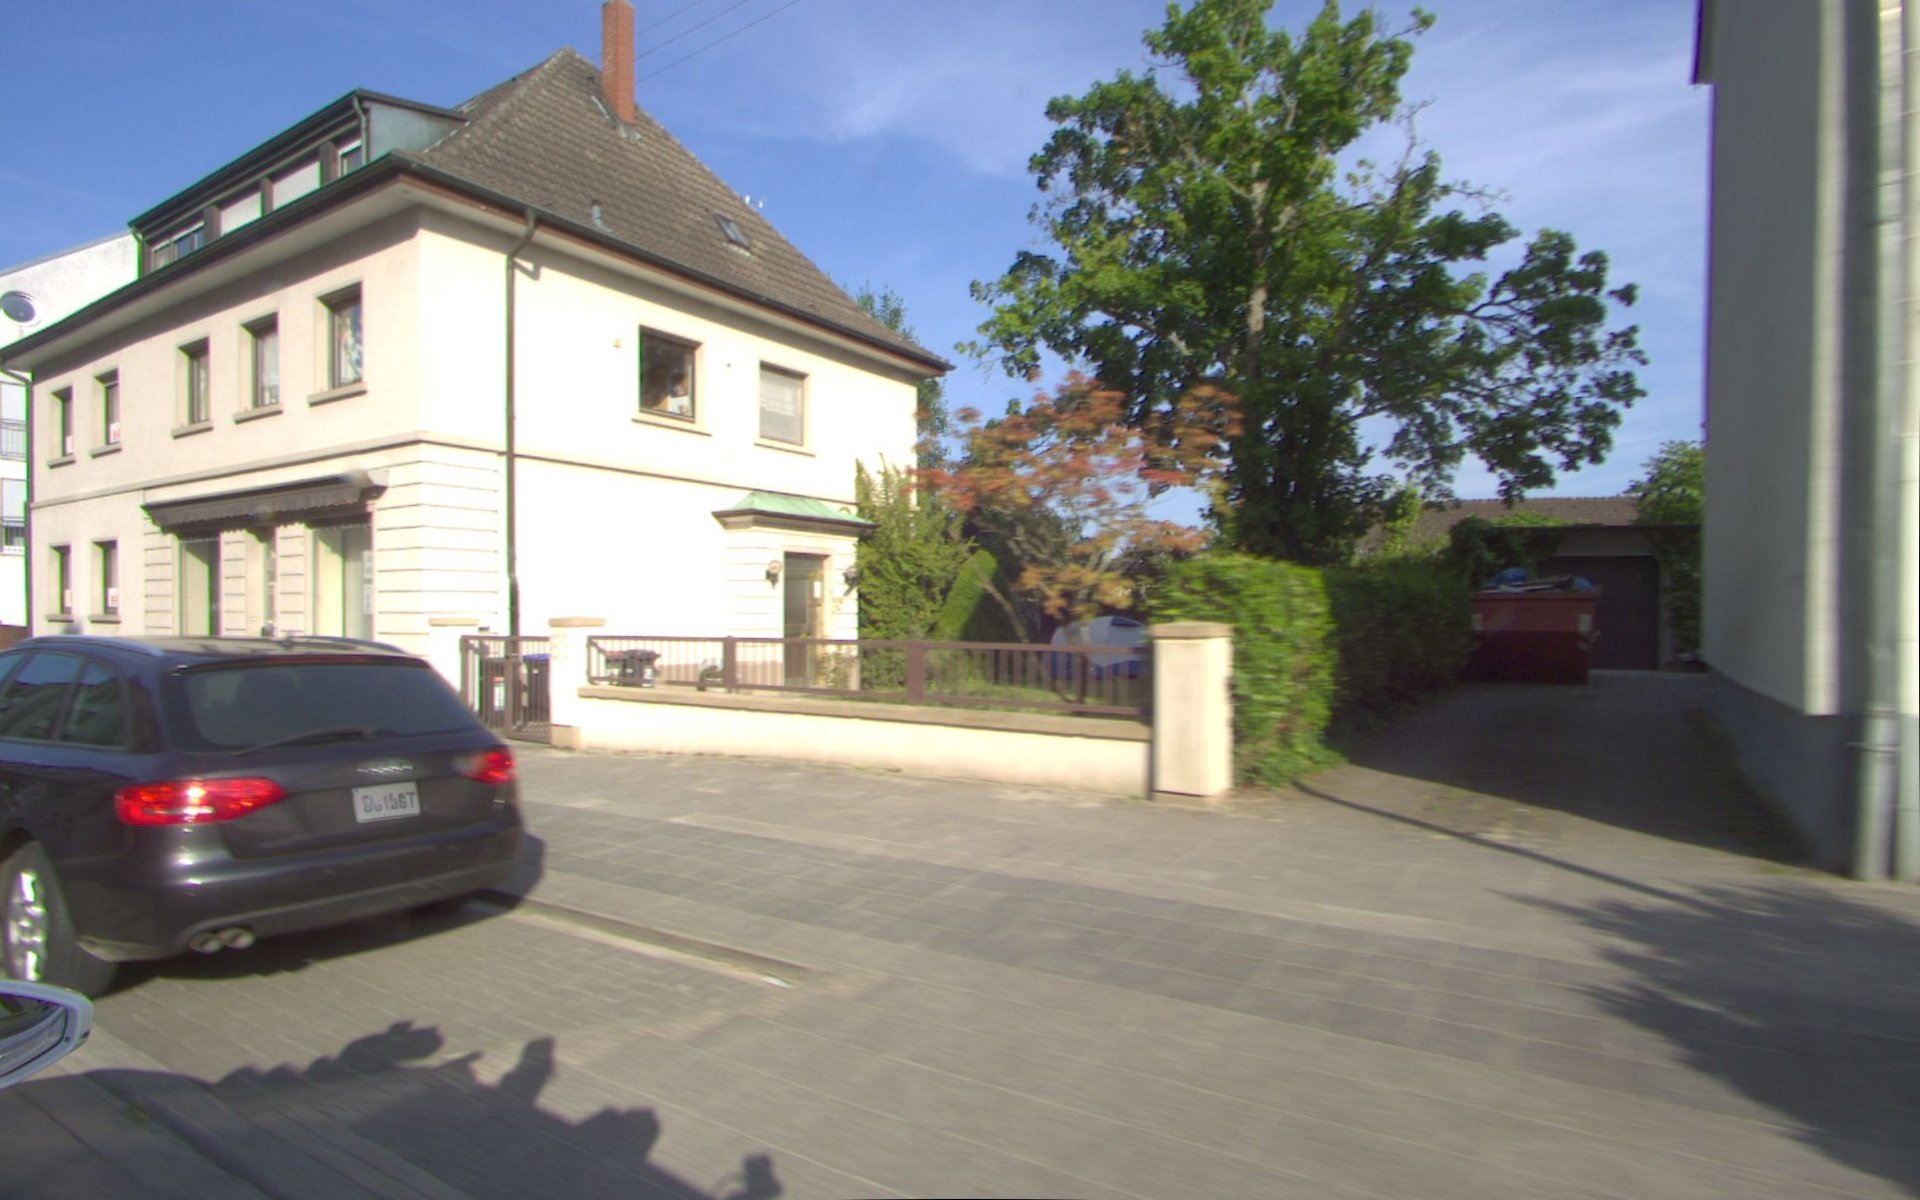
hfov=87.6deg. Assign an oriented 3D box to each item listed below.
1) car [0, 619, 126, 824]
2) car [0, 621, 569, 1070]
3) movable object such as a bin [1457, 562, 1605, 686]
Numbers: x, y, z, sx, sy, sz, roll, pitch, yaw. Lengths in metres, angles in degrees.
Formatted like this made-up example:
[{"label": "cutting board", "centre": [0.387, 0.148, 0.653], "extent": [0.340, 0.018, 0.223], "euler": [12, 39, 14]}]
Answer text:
[{"label": "car", "centre": [-8.848, 0.884, 8.238], "extent": [4.544, 1.438, 1.826], "euler": [0, -1, 33]}, {"label": "car", "centre": [-4.210, 0.848, 5.232], "extent": [4.431, 1.438, 1.776], "euler": [0, -1, 32]}, {"label": "movable object such as a bin", "centre": [9.495, 0.359, 16.588], "extent": [1.949, 1.863, 2.554], "euler": [0, 0, 34]}]
